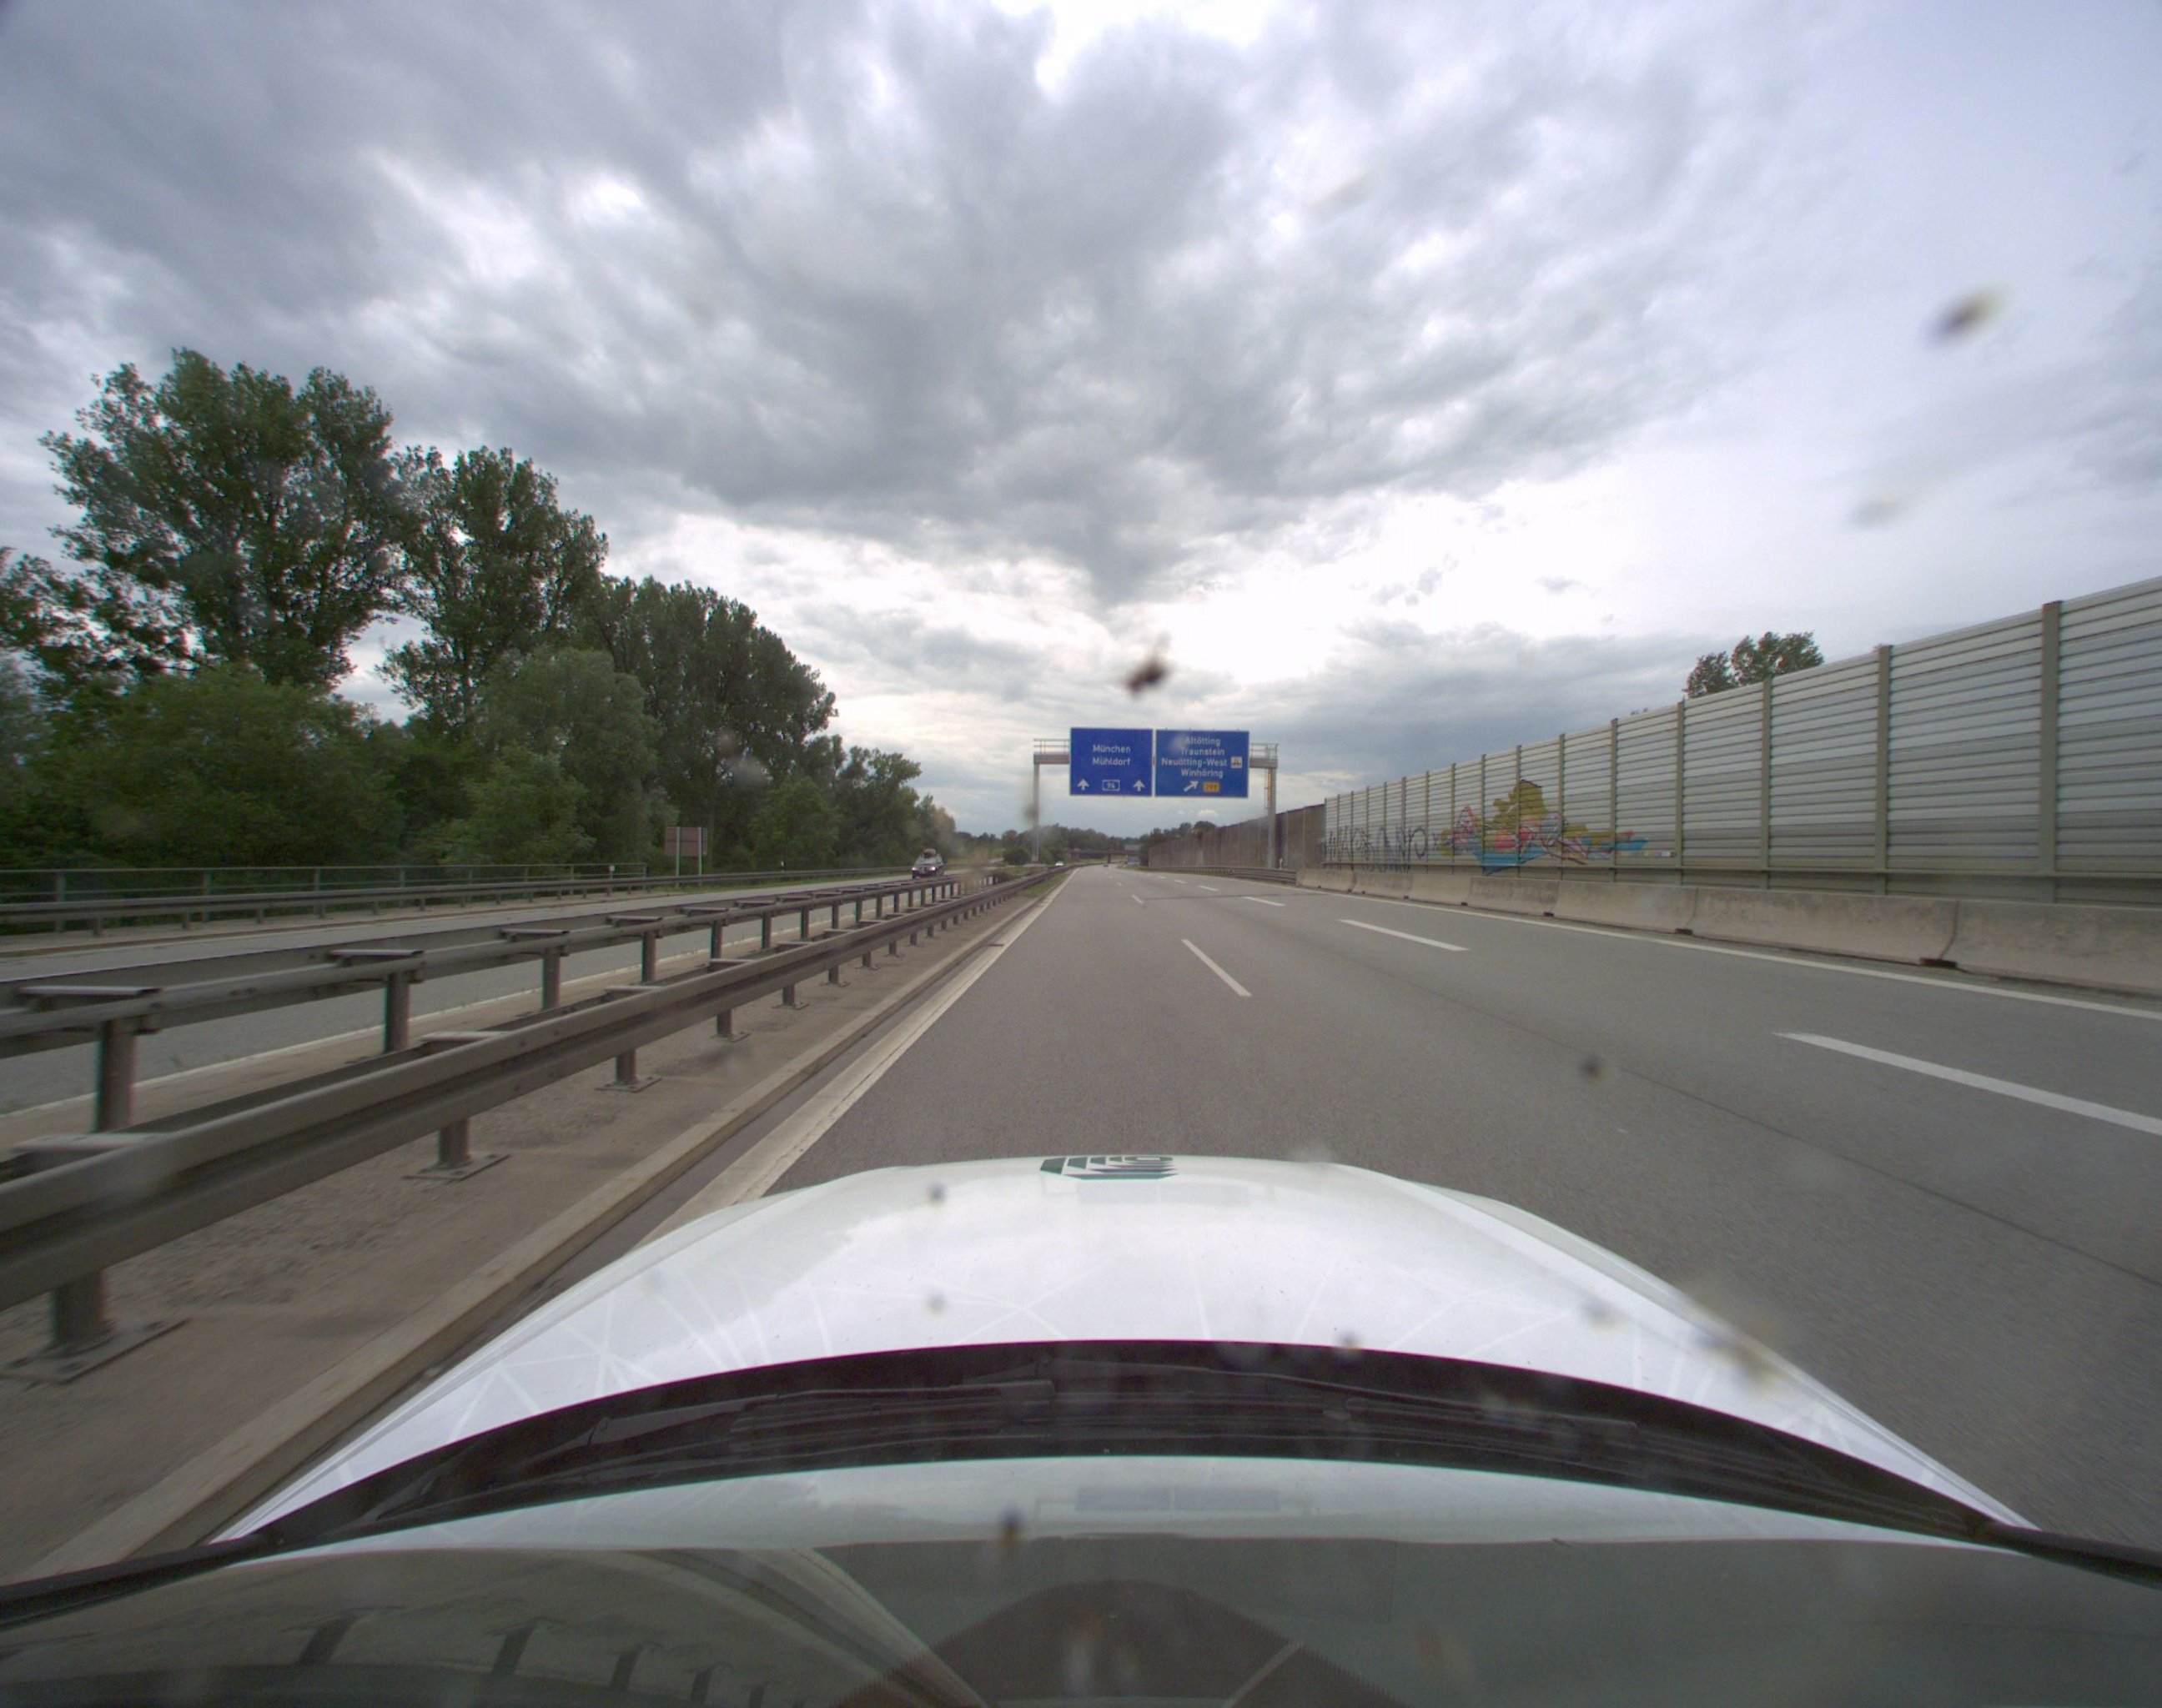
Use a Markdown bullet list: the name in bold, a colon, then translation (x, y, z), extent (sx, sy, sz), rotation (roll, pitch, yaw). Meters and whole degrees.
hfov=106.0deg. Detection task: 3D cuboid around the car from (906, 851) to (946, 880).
- **car**: translation (-11.078, 0.803, 58.358), extent (1.987, 2.002, 4.742), rotation (0, -1, -1)
